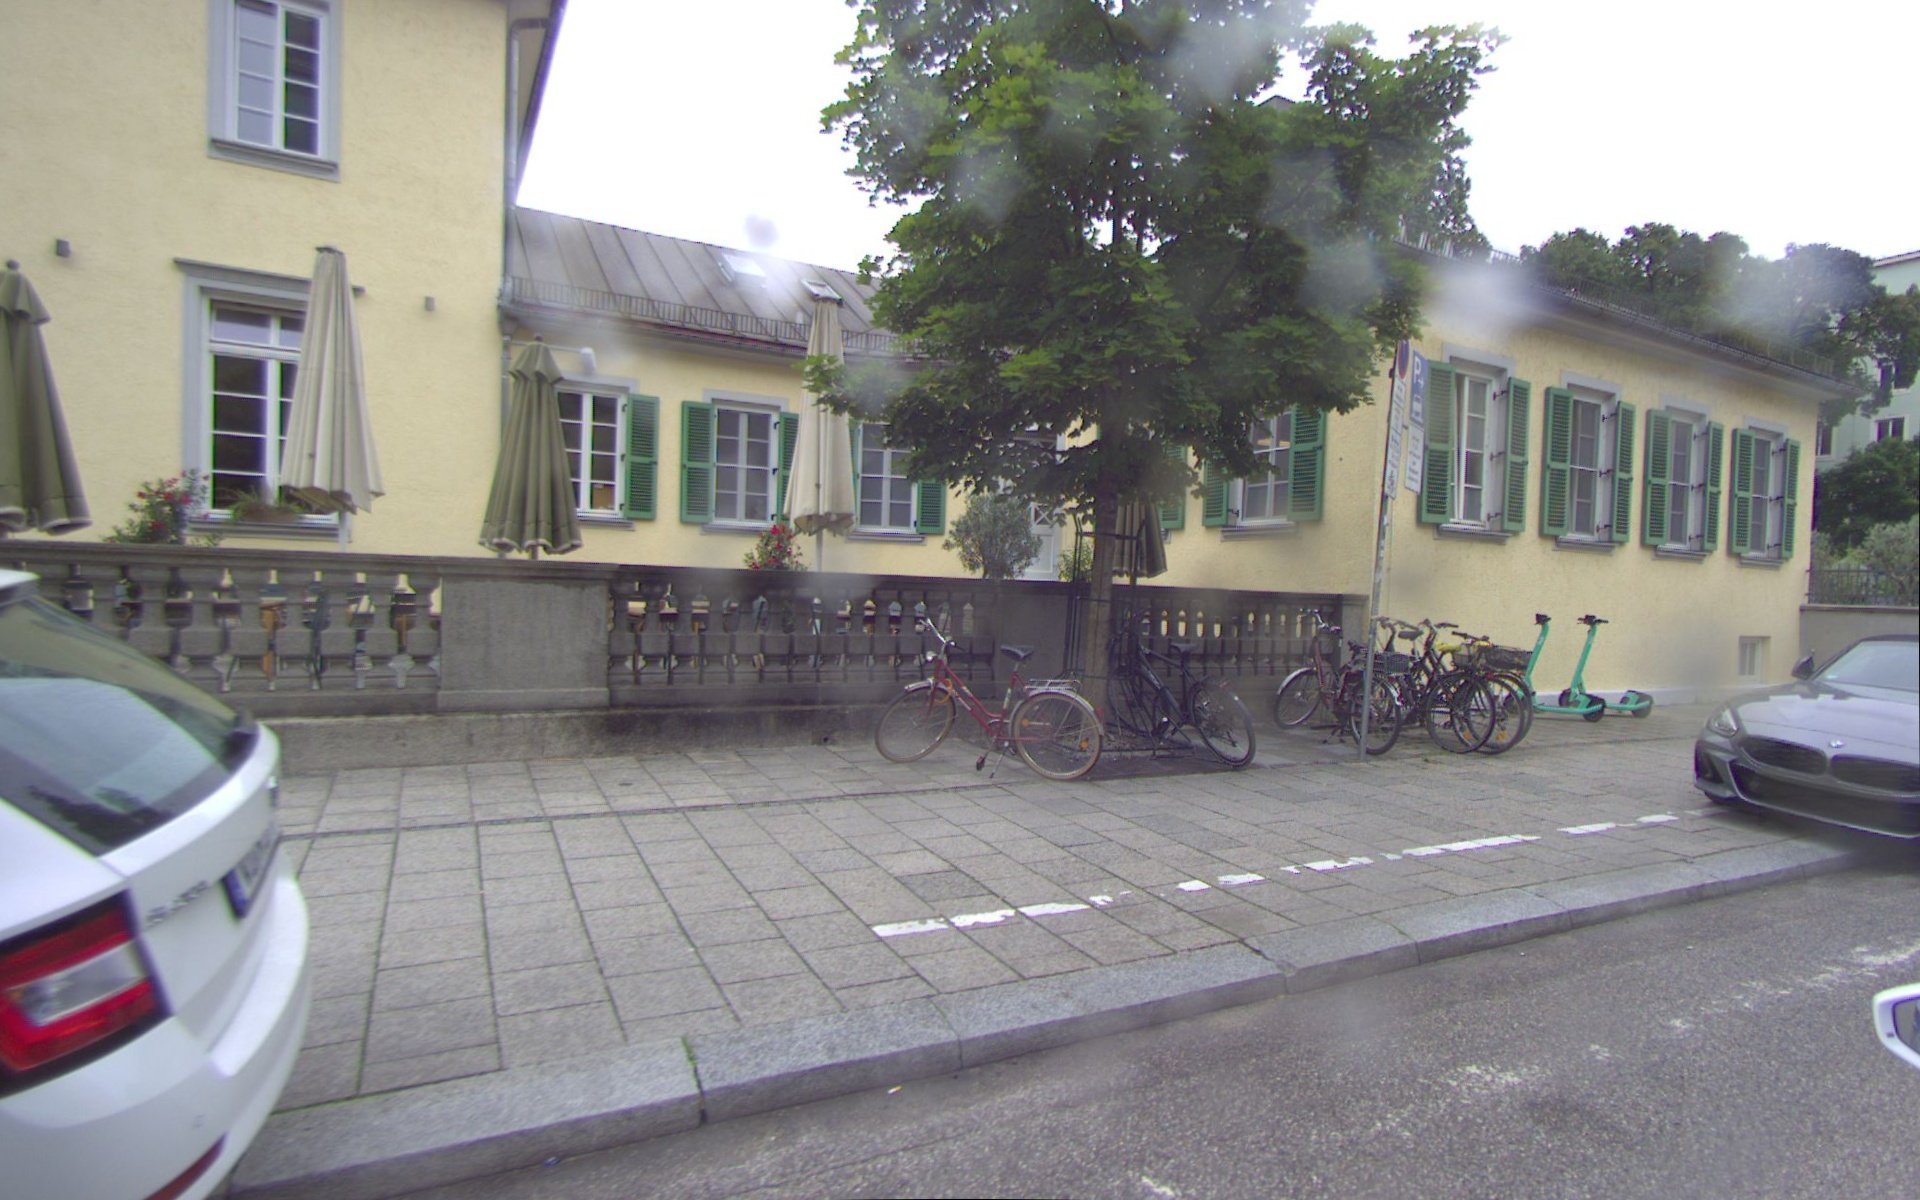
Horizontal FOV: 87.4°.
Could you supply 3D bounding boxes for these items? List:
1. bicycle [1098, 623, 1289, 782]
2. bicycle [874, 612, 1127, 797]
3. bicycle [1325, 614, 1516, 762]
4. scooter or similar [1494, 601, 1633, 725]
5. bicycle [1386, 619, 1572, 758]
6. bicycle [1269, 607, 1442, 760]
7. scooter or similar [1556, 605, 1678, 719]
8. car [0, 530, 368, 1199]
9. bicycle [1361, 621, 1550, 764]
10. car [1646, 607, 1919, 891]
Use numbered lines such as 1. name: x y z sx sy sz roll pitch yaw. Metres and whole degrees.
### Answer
1. bicycle: 1.833 0.764 8.172 0.635 1.042 1.721 1 2 -20
2. bicycle: 0.278 0.663 6.921 1.602 1.103 0.637 2 1 23
3. bicycle: 4.194 0.756 9.285 0.348 1.187 1.693 1 1 -29
4. scooter or similar: 6.932 0.712 11.561 1.326 1.361 0.376 2 1 -1
5. bicycle: 4.982 0.806 9.744 0.633 1.164 1.485 1 1 -25
6. bicycle: 3.518 0.697 9.079 0.459 1.189 1.626 1 1 -20
7. scooter or similar: 8.001 0.752 12.250 1.229 1.331 0.364 2 1 -4
8. car: -3.319 0.581 1.184 4.406 1.512 1.717 2 2 -29
9. bicycle: 4.567 0.807 9.371 0.382 1.152 1.621 1 1 -29
10. car: 7.228 0.920 7.297 4.601 1.539 1.887 2 2 -31
